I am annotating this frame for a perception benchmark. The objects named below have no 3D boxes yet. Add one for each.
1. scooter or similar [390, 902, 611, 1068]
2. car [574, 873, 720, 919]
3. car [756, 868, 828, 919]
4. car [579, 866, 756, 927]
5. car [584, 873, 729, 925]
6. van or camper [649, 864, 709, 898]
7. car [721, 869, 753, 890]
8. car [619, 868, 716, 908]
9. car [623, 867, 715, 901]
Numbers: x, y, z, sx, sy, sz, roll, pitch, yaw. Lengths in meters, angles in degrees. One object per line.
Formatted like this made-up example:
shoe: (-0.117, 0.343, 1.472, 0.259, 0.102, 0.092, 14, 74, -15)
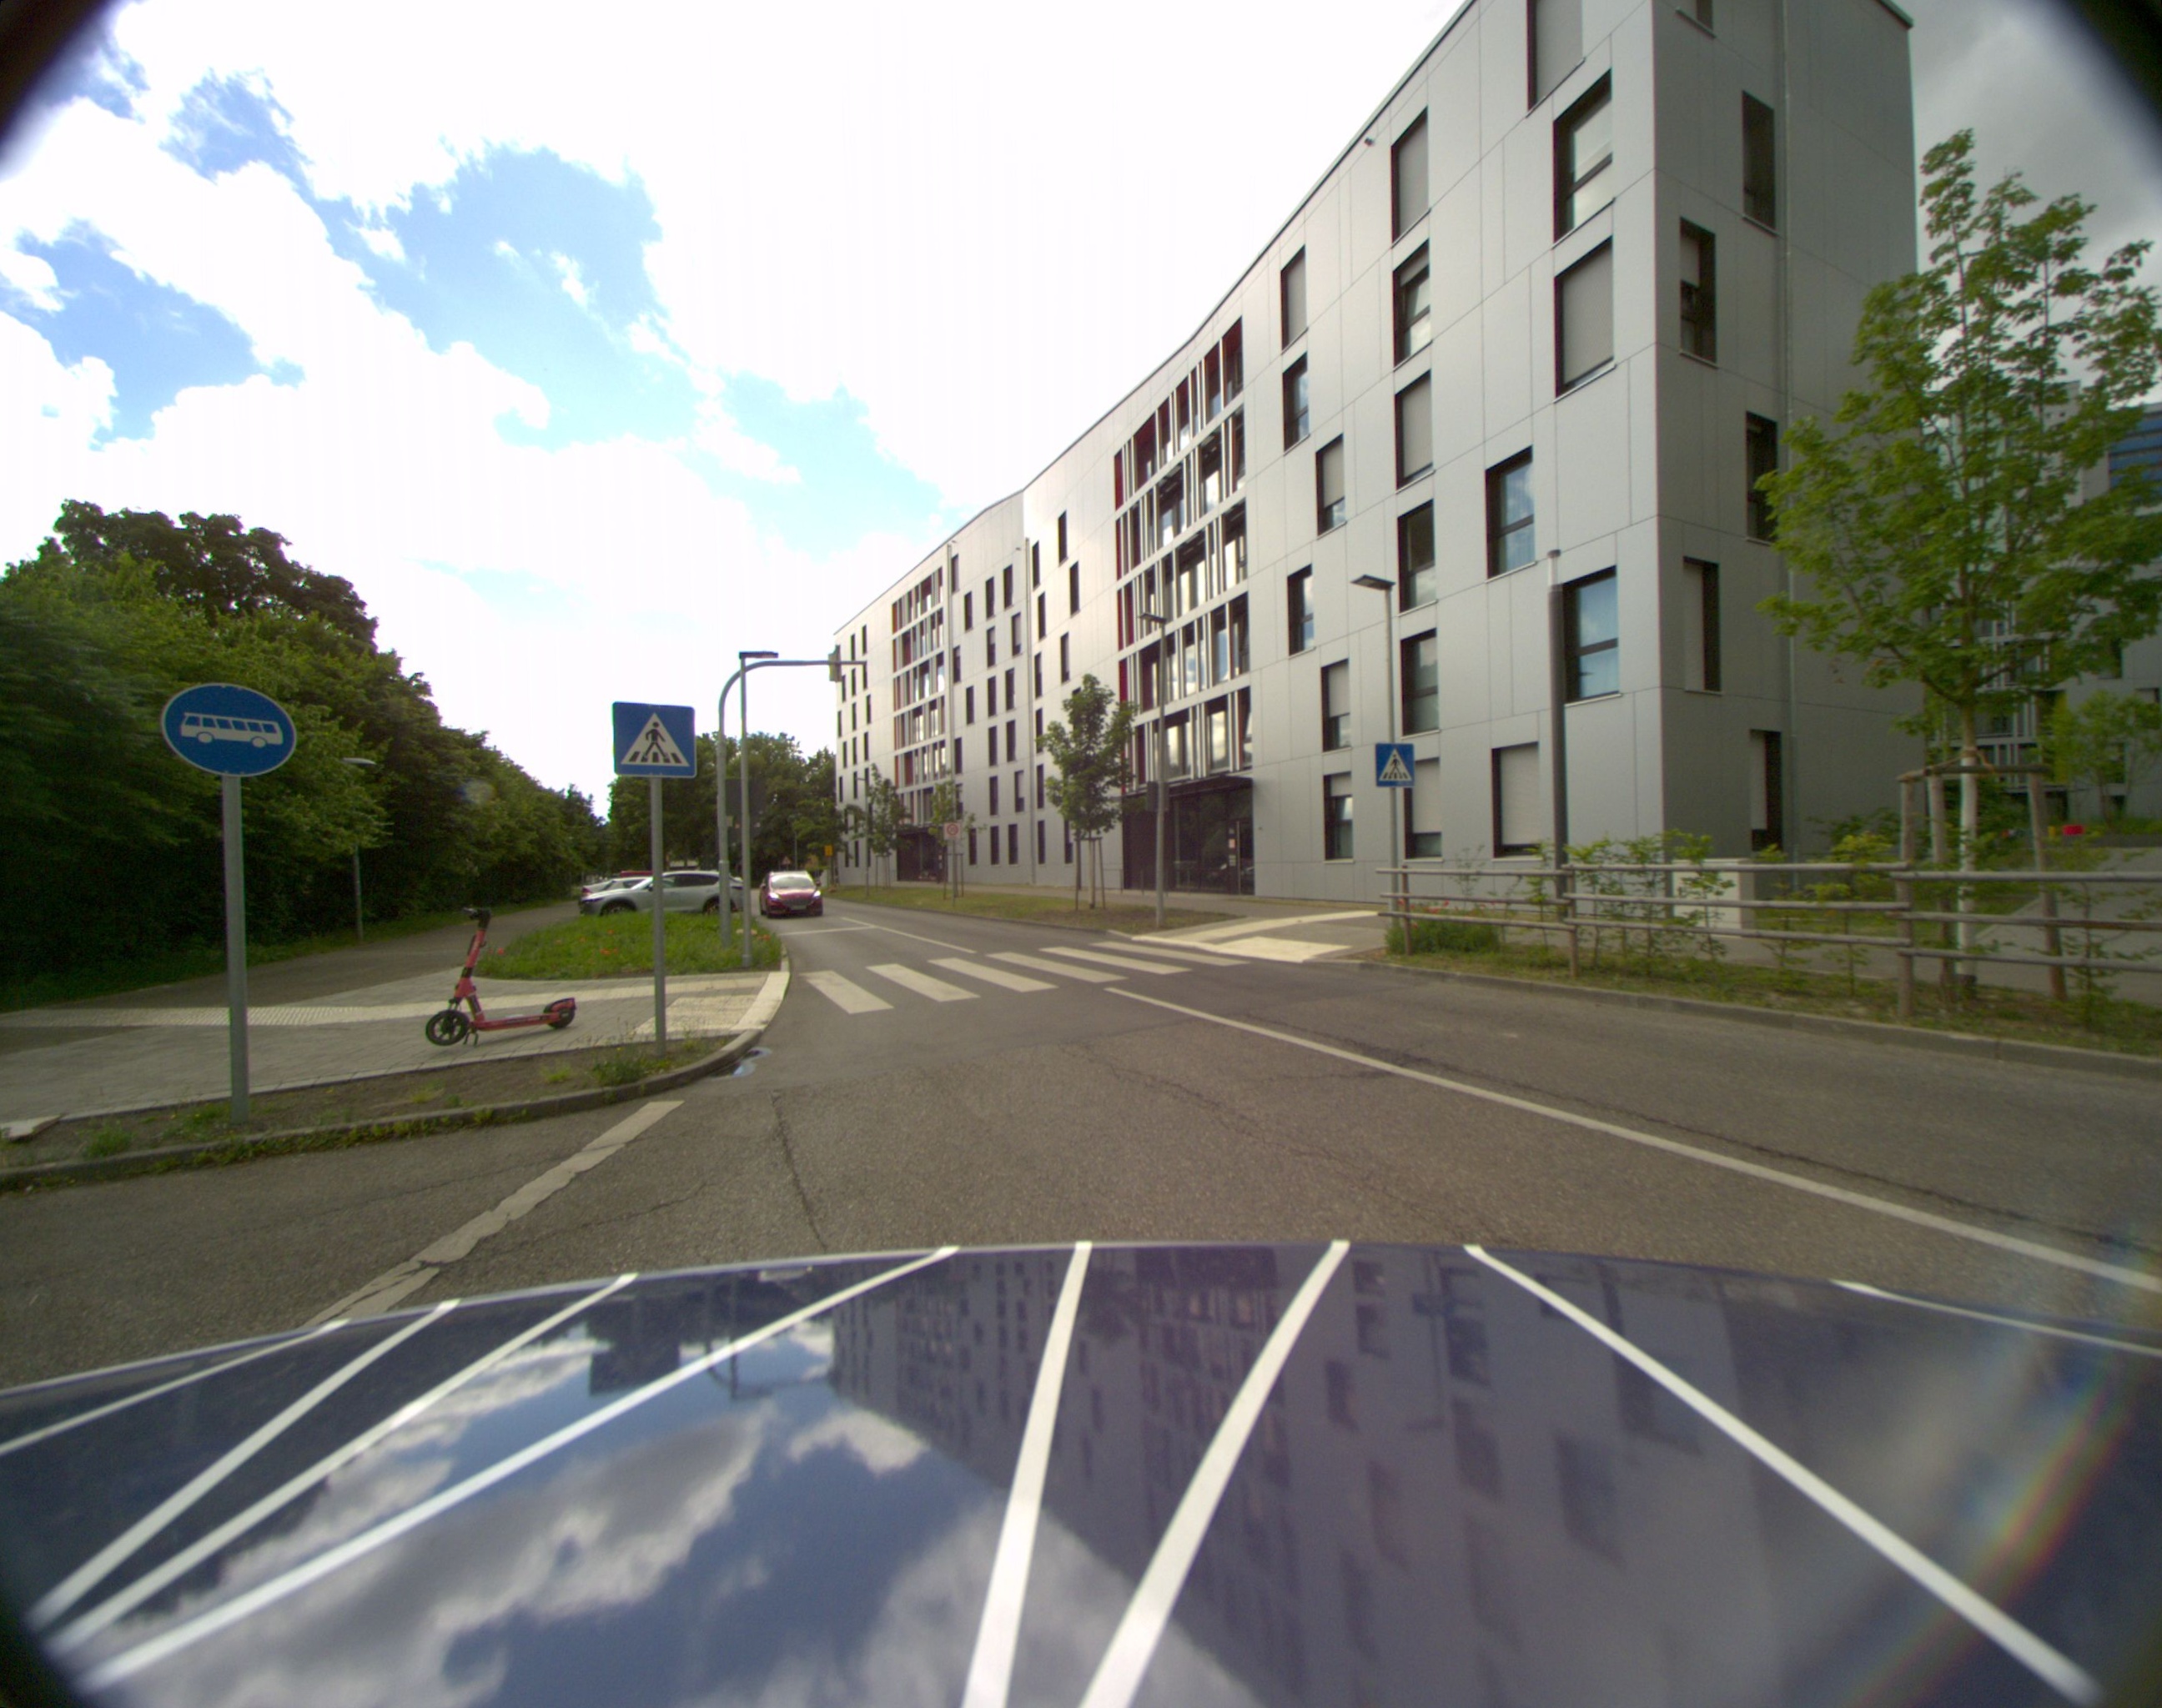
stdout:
scooter or similar: (-5.452, 1.160, 7.237, 0.571, 1.305, 1.528, -2, 0, 31)
car: (-15.867, 1.490, 27.970, 4.499, 1.553, 1.907, 1, -1, -30)
car: (-10.752, 1.395, 28.104, 1.937, 1.622, 4.233, -3, 1, -28)
car: (-12.850, 1.267, 23.764, 4.672, 1.741, 2.065, 1, -2, -32)
car: (-14.459, 1.468, 26.032, 4.175, 1.576, 1.792, -1, -1, -30)
van or camper: (-31.627, 2.097, 59.786, 3.987, 2.306, 1.880, -4, 1, -30)
car: (-27.861, 2.047, 61.476, 1.822, 1.608, 3.991, 0, -1, -32)
car: (-21.358, 1.719, 39.353, 4.301, 1.881, 1.833, 0, -1, -30)
car: (-23.864, 1.730, 44.123, 4.573, 1.887, 1.880, 1, -1, -30)
